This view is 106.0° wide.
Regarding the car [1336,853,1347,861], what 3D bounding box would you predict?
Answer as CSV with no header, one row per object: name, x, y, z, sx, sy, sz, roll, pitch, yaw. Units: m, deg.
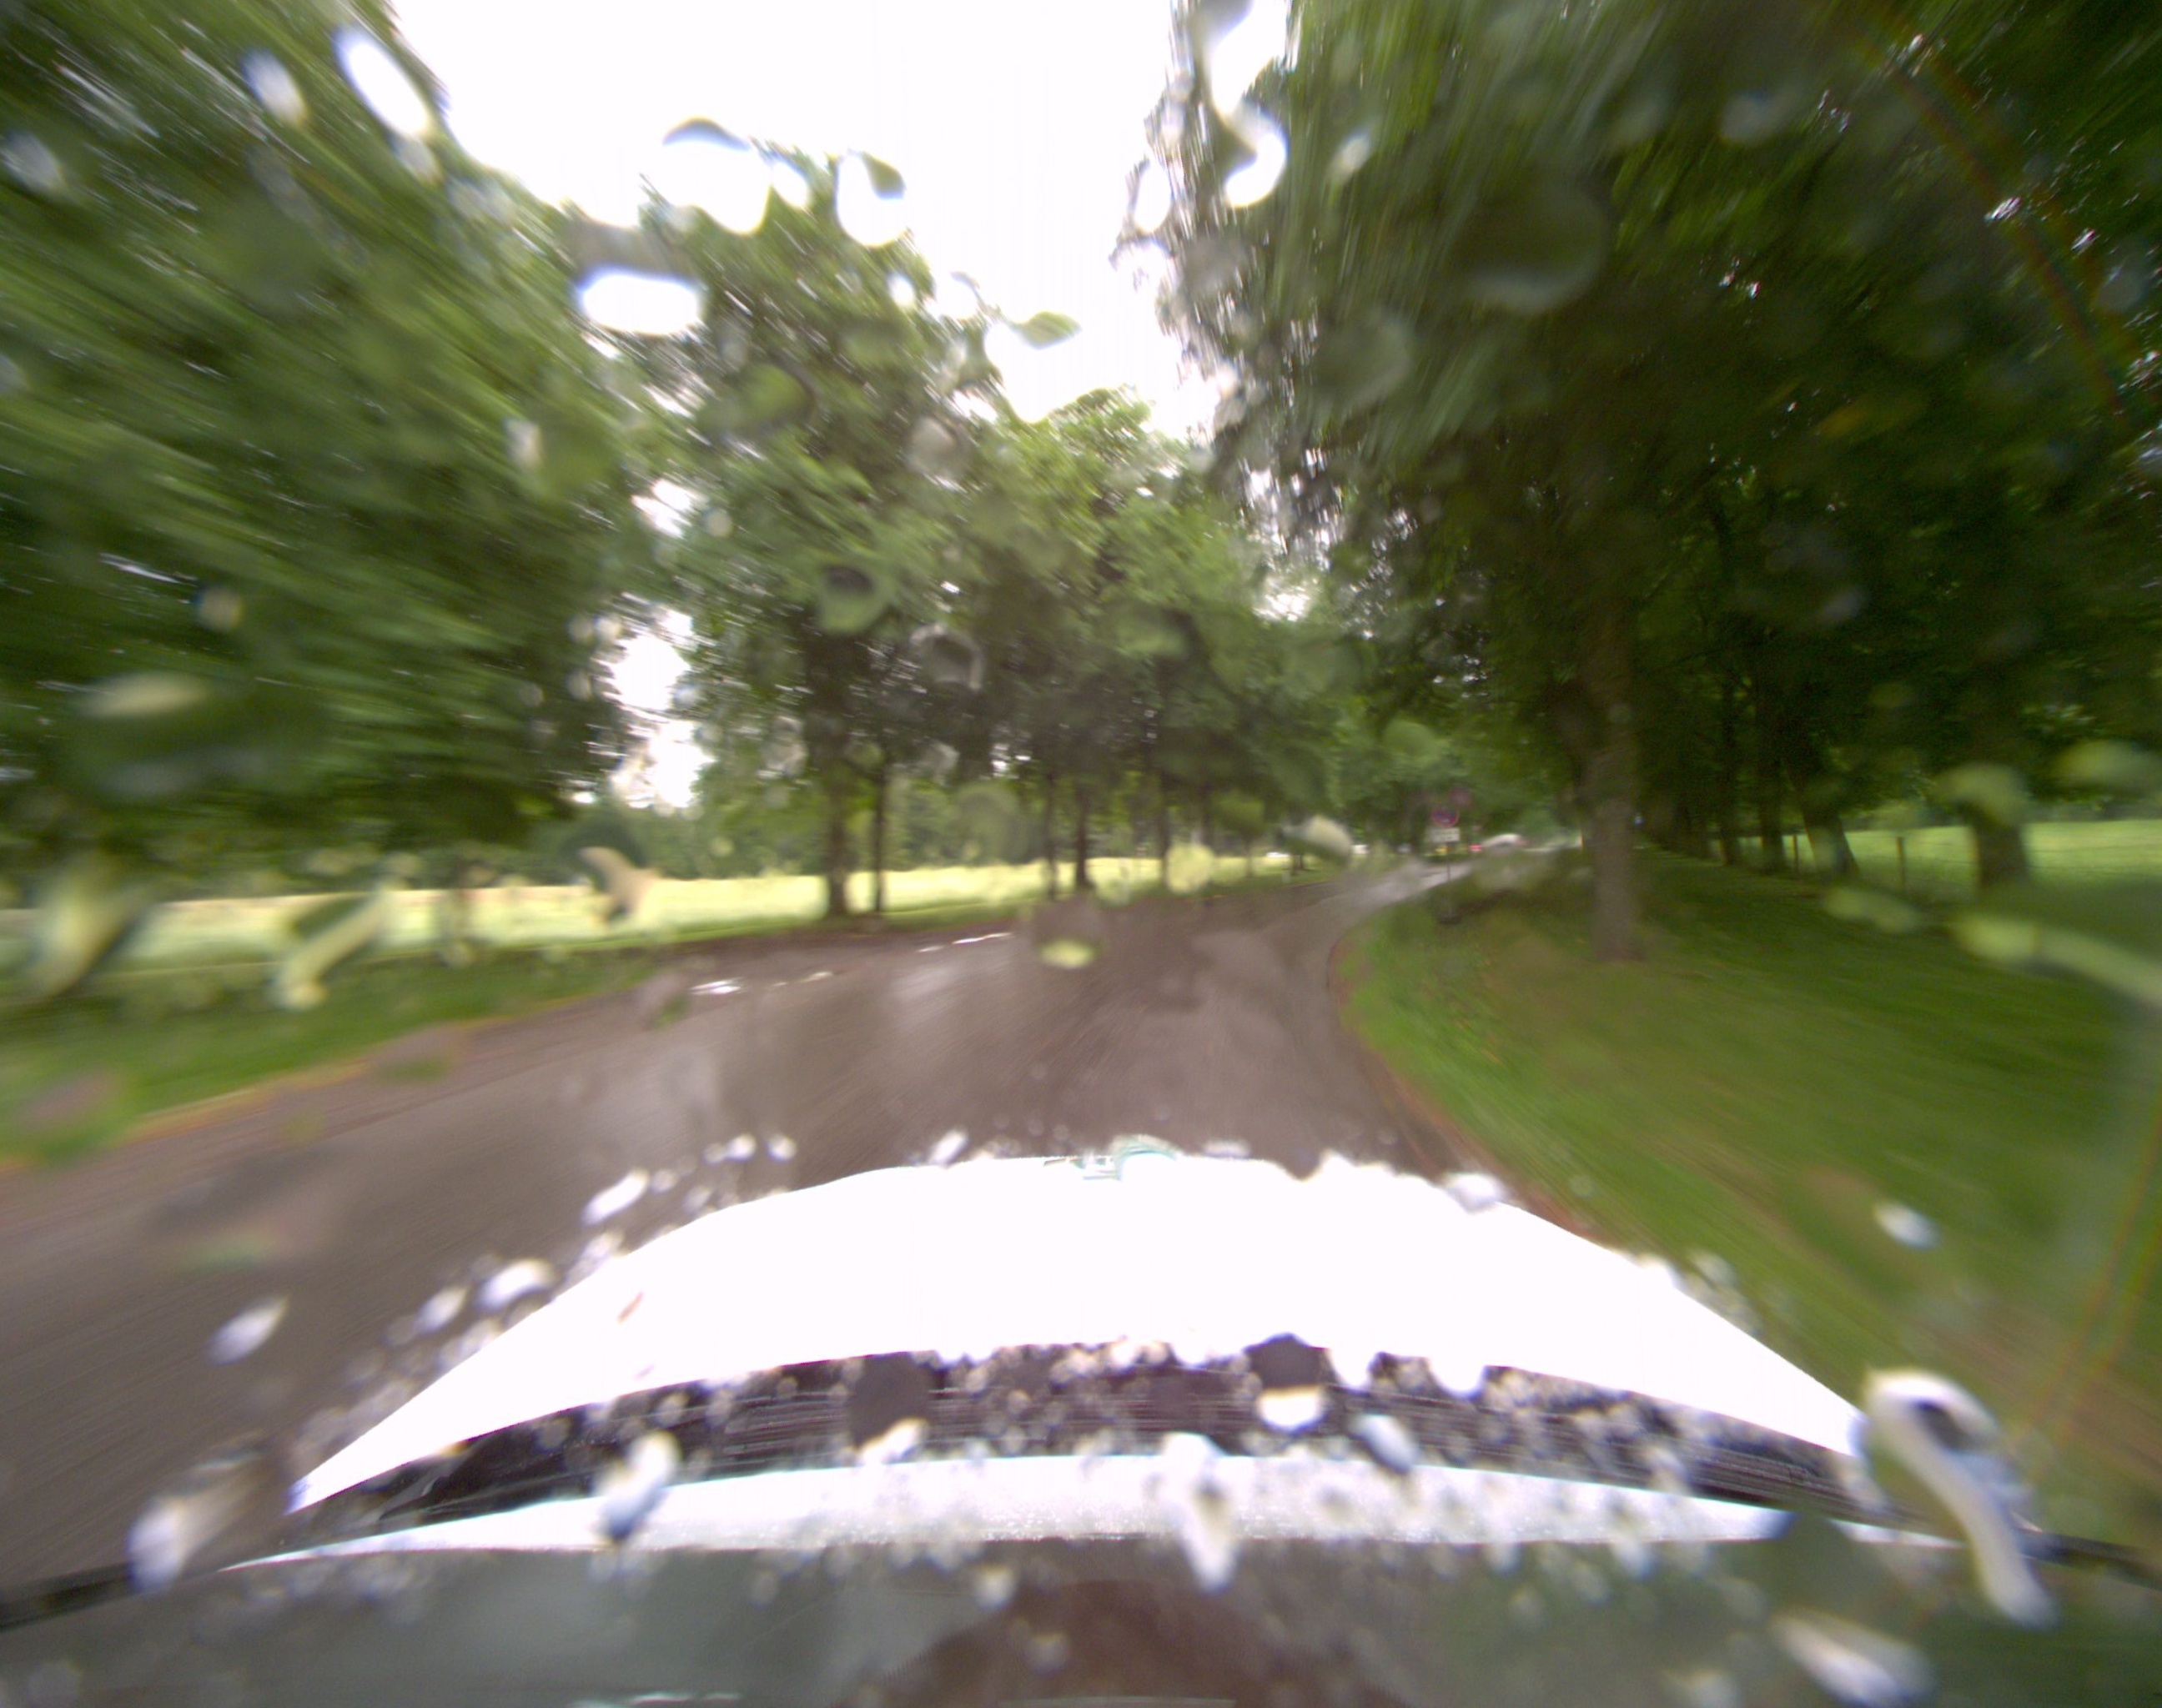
car,46.950,0.544,146.847,1.749,1.429,4.124,-2,-1,16

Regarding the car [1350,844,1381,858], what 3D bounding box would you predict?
car,51.653,-0.544,147.888,2.388,2.408,5.954,0,-2,-14

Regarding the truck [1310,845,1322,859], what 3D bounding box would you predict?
truck,42.467,-0.421,147.186,1.854,2.443,3.366,-2,-1,20
